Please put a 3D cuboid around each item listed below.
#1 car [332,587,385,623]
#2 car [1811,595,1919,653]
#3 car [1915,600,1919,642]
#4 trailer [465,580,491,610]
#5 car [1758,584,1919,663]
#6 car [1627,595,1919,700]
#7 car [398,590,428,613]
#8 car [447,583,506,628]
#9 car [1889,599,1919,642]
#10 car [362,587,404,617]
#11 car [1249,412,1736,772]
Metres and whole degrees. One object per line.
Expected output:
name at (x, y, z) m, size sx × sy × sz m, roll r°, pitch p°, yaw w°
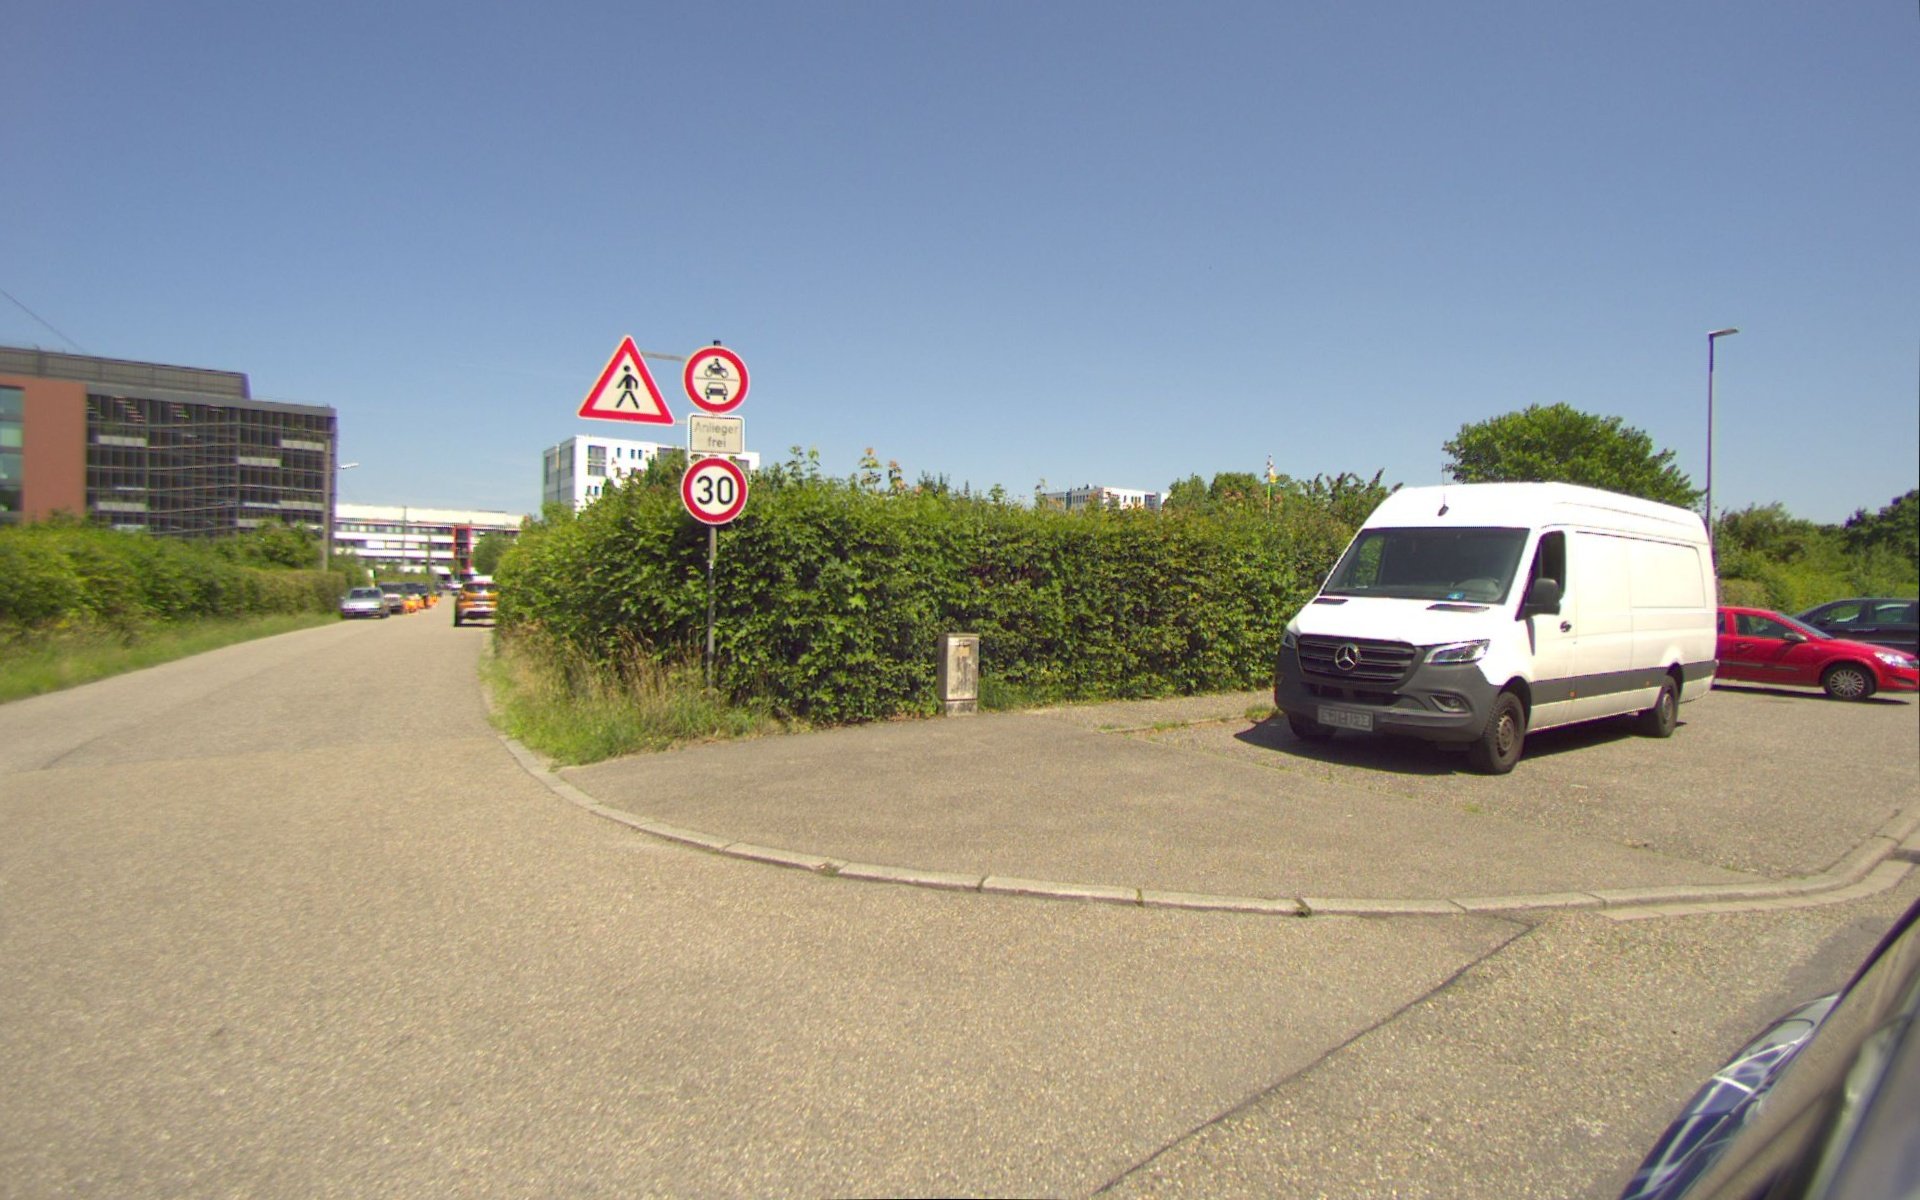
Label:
car at (-27.514, 0.201, 46.391) m, size 1.813 × 1.556 × 4.474 m, roll 0°, pitch 1°, yaw -28°
car at (28.164, 0.722, 29.985) m, size 1.735 × 1.597 × 4.283 m, roll 0°, pitch 3°, yaw -42°
car at (37.911, 0.902, 37.237) m, size 3.965 × 1.541 × 1.834 m, roll 5°, pitch 4°, yaw 45°
trailer at (-43.562, -0.435, 91.401) m, size 1.858 × 2.576 × 4.005 m, roll -2°, pitch 1°, yaw -28°
car at (23.524, 0.569, 26.057) m, size 1.921 × 1.827 × 4.457 m, roll -2°, pitch 3°, yaw -44°
car at (14.147, 0.722, 17.481) m, size 1.805 × 1.452 × 4.060 m, roll -1°, pitch 3°, yaw -43°
car at (-38.285, 0.052, 70.930) m, size 1.813 × 1.556 × 4.474 m, roll 0°, pitch 1°, yaw -28°
car at (-17.968, 0.159, 37.538) m, size 1.813 × 1.556 × 4.474 m, roll 0°, pitch 1°, yaw -28°
car at (35.373, 0.771, 35.844) m, size 1.558 × 1.522 × 3.398 m, roll 0°, pitch 2°, yaw -37°
car at (-31.256, 0.058, 54.888) m, size 1.813 × 1.556 × 4.474 m, roll 0°, pitch 1°, yaw -28°
car at (6.020, -0.075, 10.765) m, size 7.038 × 2.767 × 1.959 m, roll 1°, pitch 2°, yaw -40°
